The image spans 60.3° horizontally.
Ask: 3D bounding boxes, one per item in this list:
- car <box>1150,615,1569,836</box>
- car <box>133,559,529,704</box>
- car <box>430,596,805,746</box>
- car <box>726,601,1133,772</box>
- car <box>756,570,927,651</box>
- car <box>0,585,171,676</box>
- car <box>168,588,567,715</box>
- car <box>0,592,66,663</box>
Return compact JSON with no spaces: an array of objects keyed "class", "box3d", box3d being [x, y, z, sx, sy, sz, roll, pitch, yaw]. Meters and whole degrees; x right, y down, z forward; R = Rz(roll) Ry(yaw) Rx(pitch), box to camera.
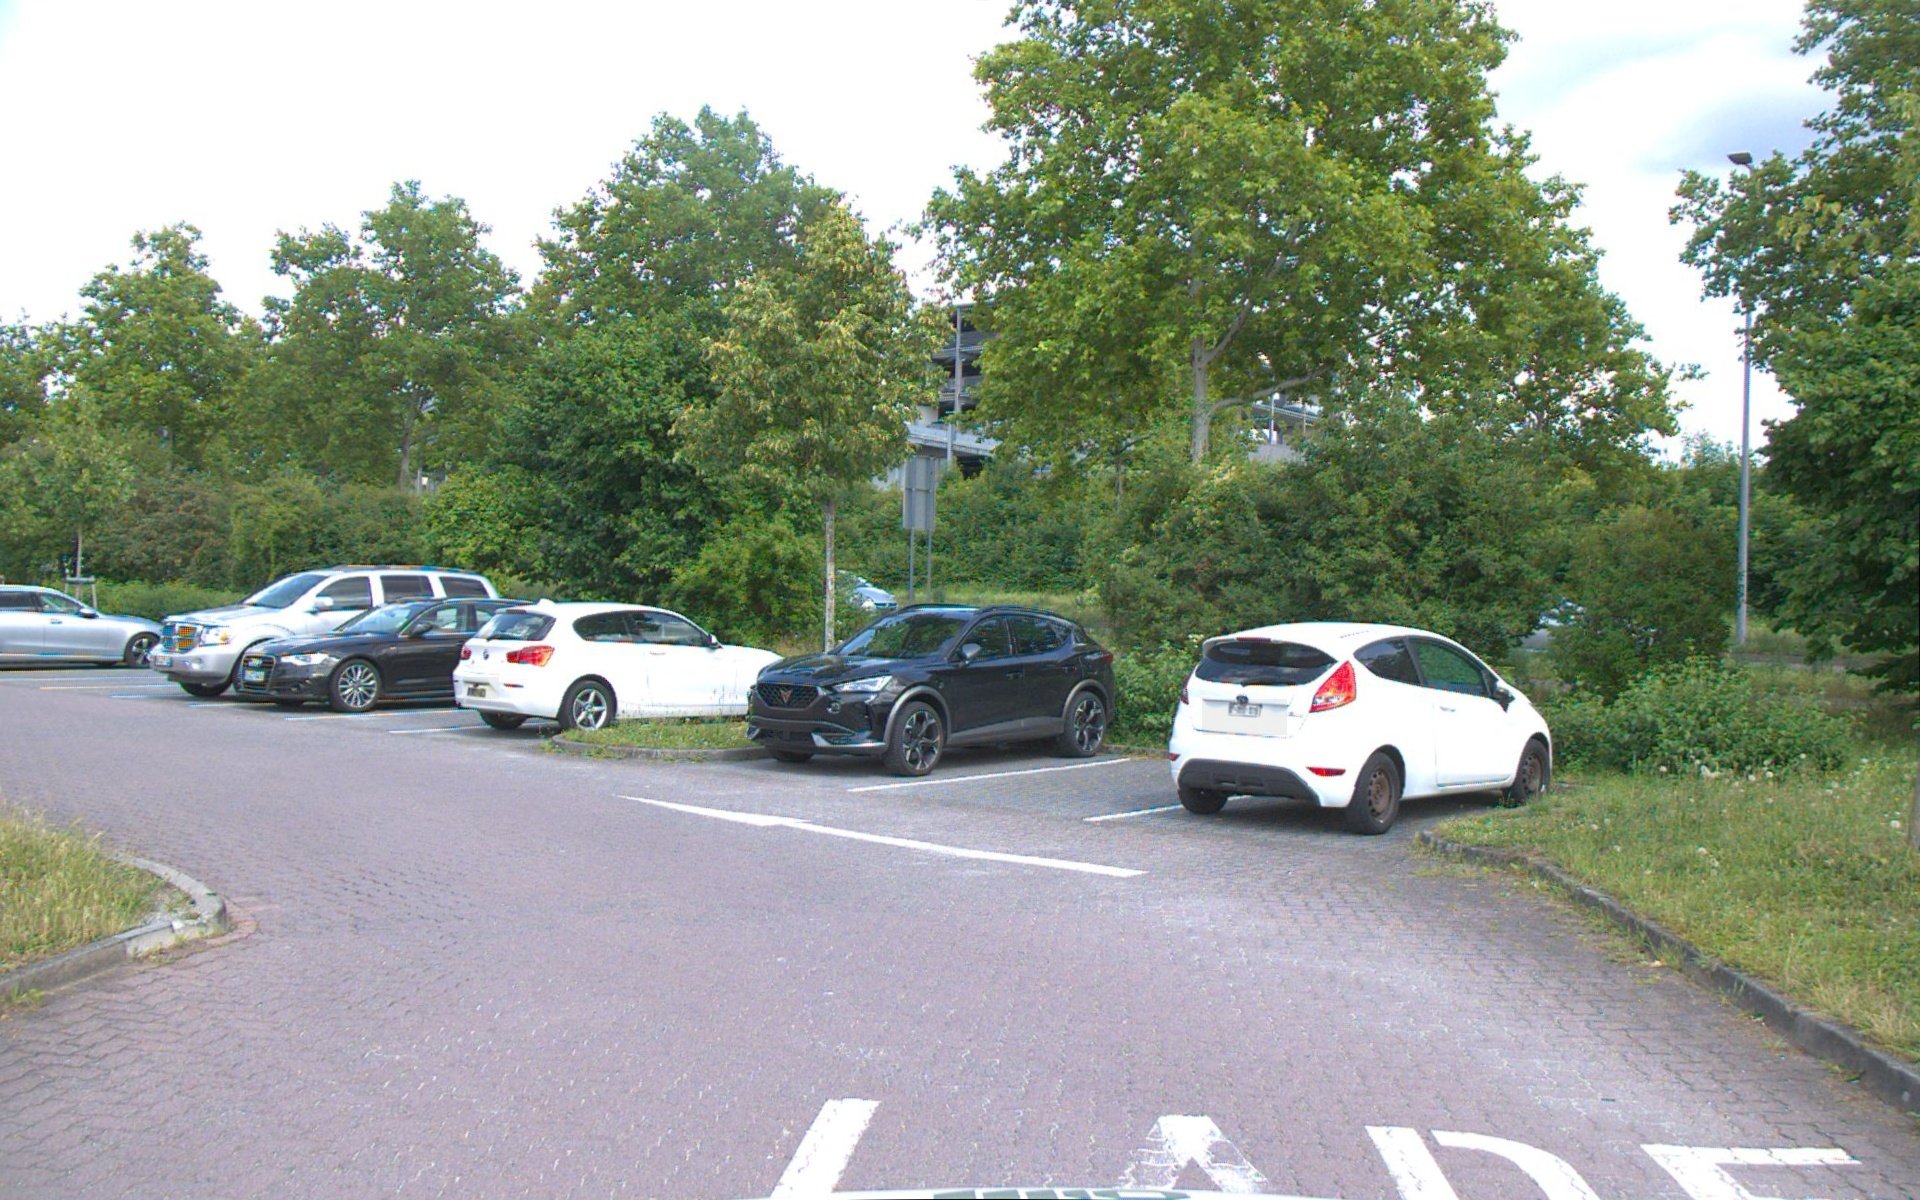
[{"class":"car","box3d":[3.219,0.858,12.946,1.642,1.436,3.533,1,1,44]},{"class":"car","box3d":[-8.979,0.397,24.045,1.952,1.875,5.124,1,1,38]},{"class":"car","box3d":[-3.837,0.735,19.047,1.660,1.536,4.057,0,0,42]},{"class":"car","box3d":[-0.166,0.743,16.326,1.701,1.435,4.221,1,1,39]},{"class":"car","box3d":[-3.233,0.285,44.641,4.407,2.049,1.910,0,-3,37]},{"class":"car","box3d":[-16.661,0.517,29.202,1.751,1.531,4.632,1,1,38]},{"class":"car","box3d":[-7.662,0.606,21.793,1.806,1.476,4.699,1,1,40]},{"class":"car","box3d":[-20.084,0.529,32.633,1.666,1.405,3.981,-1,-3,38]}]
